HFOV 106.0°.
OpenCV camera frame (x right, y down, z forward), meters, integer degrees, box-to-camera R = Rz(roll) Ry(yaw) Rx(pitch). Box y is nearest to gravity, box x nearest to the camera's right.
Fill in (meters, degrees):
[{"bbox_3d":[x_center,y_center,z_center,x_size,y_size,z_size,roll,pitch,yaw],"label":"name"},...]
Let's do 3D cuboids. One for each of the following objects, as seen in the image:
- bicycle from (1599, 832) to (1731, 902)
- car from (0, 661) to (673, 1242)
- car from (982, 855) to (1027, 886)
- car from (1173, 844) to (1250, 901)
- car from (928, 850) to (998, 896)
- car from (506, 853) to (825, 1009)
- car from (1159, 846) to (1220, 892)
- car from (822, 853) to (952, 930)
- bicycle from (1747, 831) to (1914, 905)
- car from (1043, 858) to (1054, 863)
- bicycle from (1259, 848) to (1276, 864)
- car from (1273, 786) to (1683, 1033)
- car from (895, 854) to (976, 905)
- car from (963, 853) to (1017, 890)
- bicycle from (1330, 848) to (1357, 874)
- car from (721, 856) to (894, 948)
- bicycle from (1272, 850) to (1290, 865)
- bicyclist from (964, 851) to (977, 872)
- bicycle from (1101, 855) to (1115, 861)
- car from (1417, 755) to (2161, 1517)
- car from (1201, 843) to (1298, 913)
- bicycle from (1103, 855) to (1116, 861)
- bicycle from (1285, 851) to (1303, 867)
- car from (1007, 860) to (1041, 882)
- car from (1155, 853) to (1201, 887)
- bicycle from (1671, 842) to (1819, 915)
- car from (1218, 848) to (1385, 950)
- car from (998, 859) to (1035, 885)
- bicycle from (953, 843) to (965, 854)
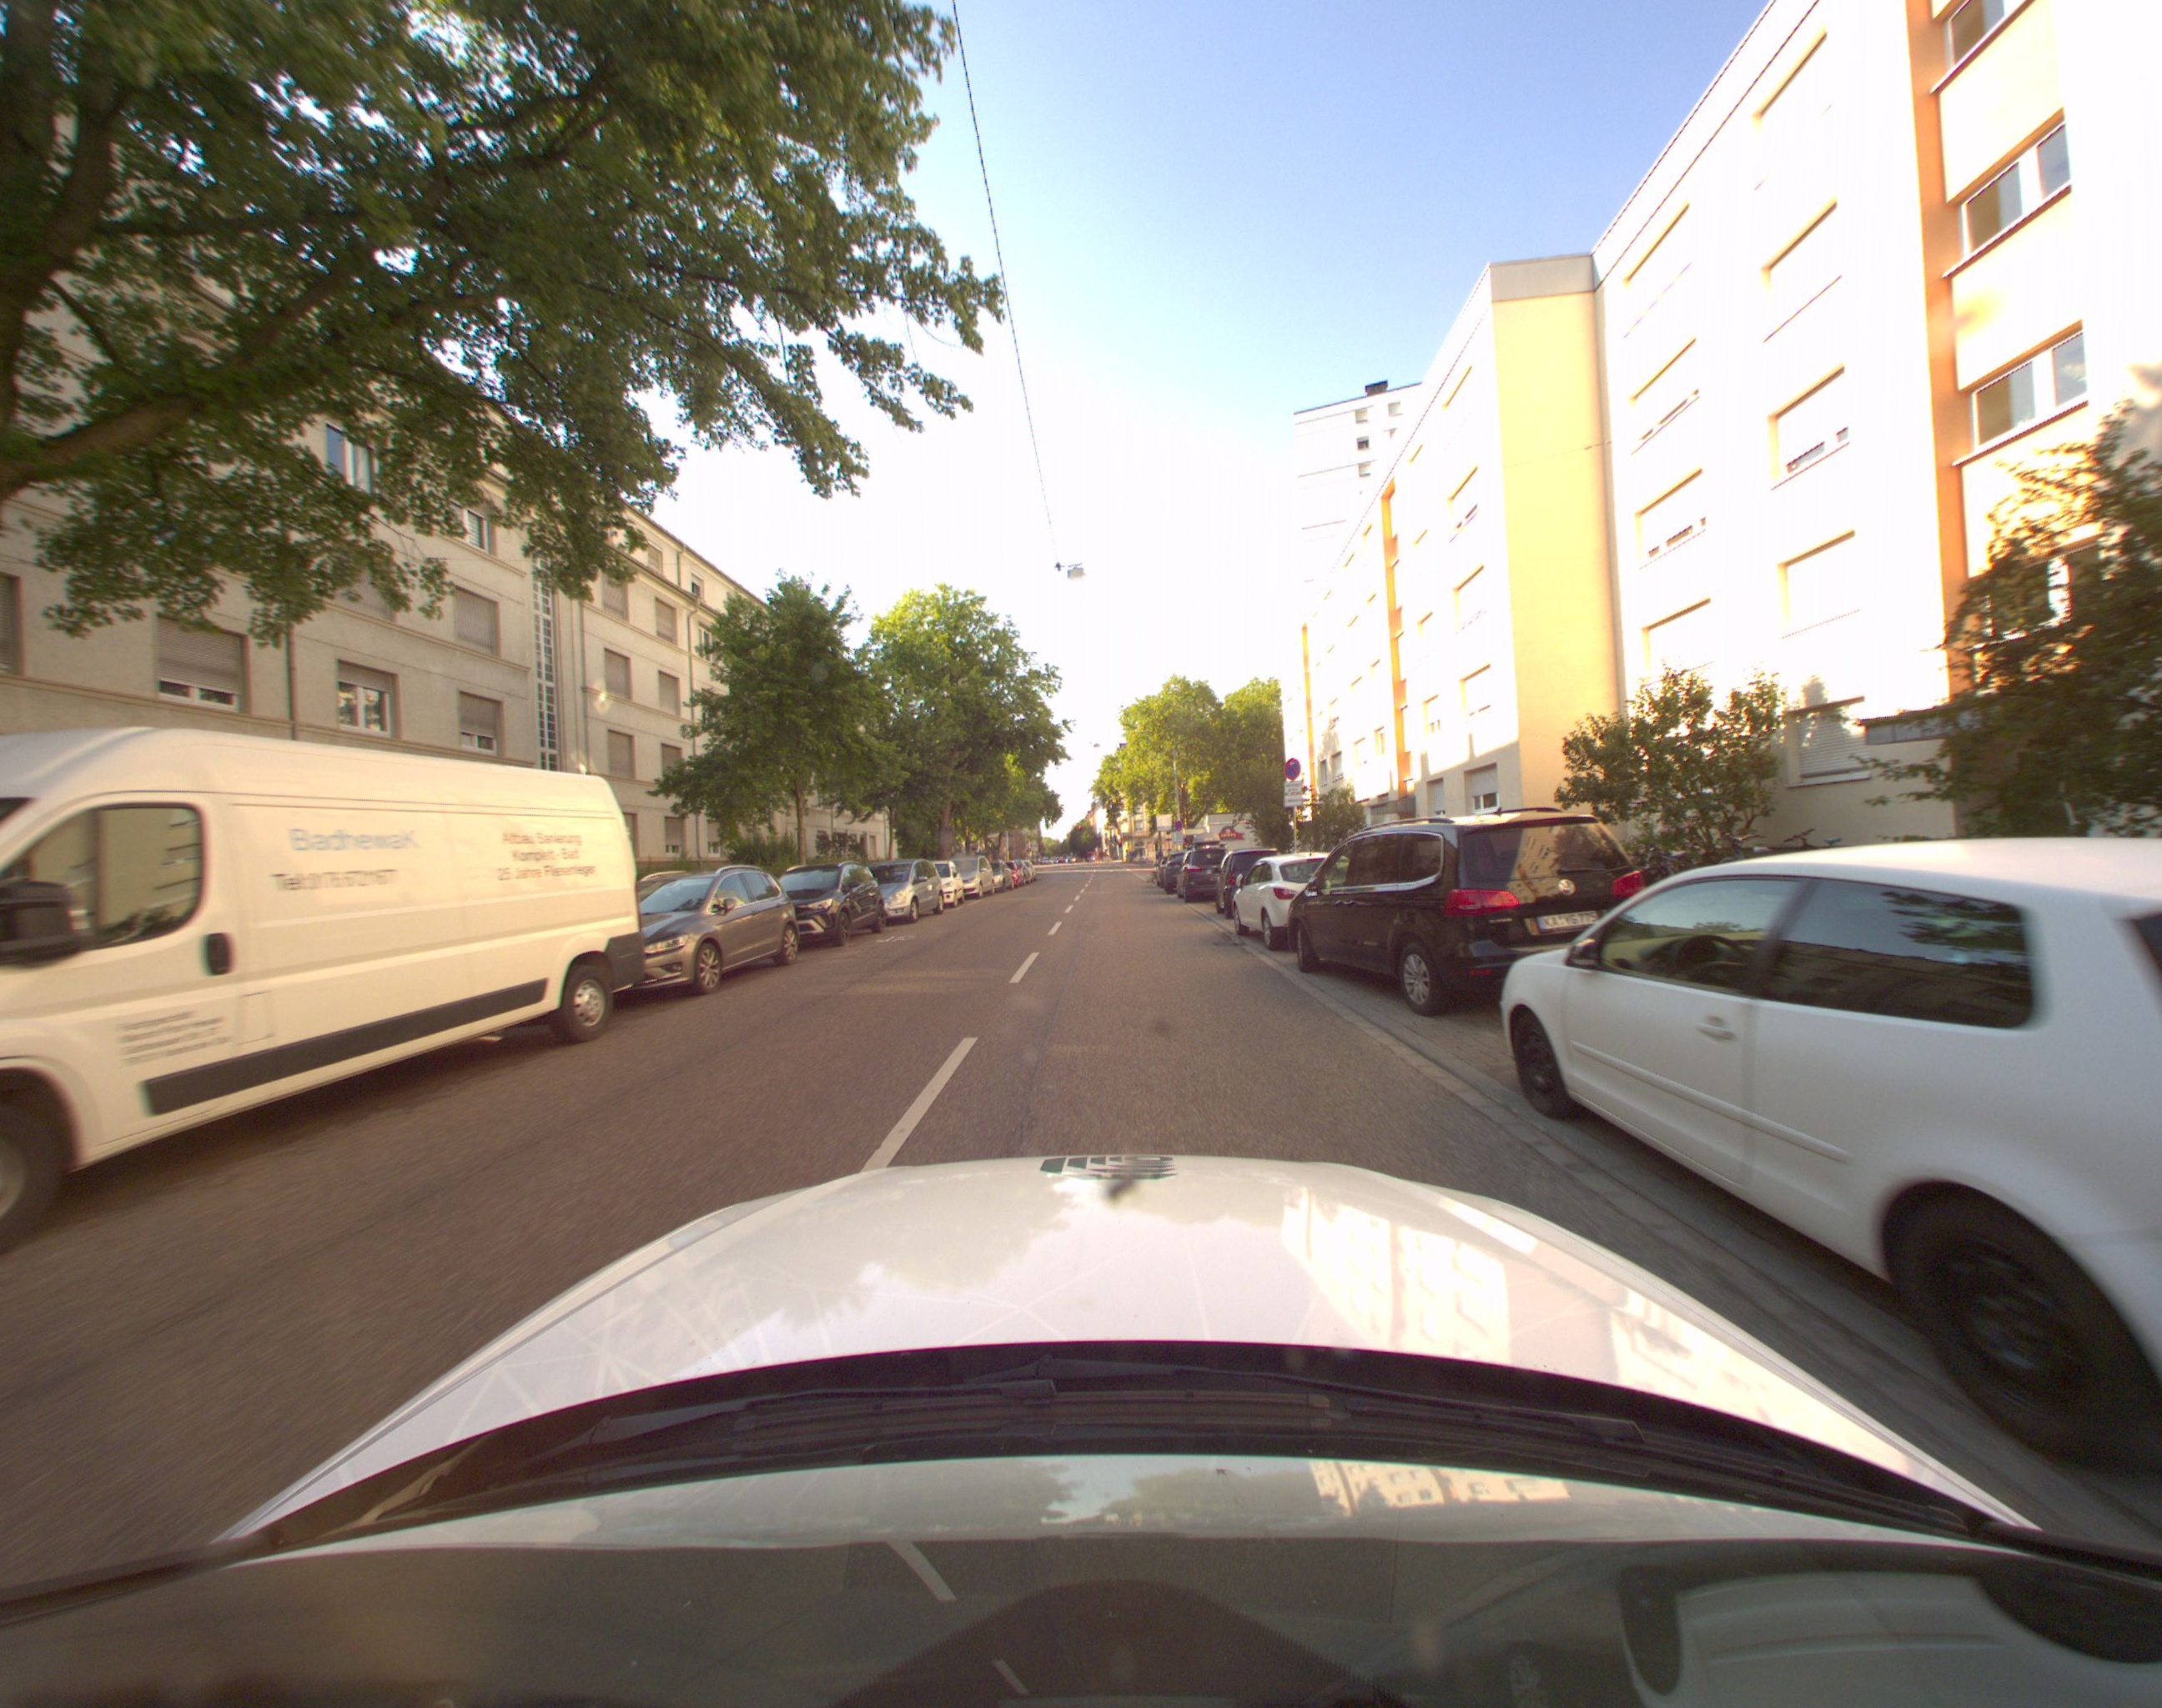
[{"bbox_3d":[10.043,0.184,14.135,0.598,1.081,2.394,-3,1,2],"label":"bicycle"},{"bbox_3d":[-5.652,0.502,5.513,2.349,2.445,6.168,-3,-1,2],"label":"car"},{"bbox_3d":[-3.963,0.858,42.933,1.864,1.558,4.001,-1,-1,2],"label":"car"},{"bbox_3d":[4.140,0.554,26.544,1.890,1.651,4.344,-2,0,2],"label":"car"},{"bbox_3d":[-4.646,0.753,32.721,1.909,1.677,4.976,-1,-1,2],"label":"car"},{"bbox_3d":[-5.355,0.904,11.313,1.950,1.558,4.347,-6,-1,2],"label":"car"},{"bbox_3d":[4.204,0.588,32.272,1.919,1.659,4.679,-1,-1,2],"label":"car"},{"bbox_3d":[-4.884,0.860,21.324,1.864,1.558,5.059,-7,0,2],"label":"car"},{"bbox_3d":[12.307,0.190,13.501,0.598,1.081,2.394,-3,1,2],"label":"bicycle"},{"bbox_3d":[-8.180,1.608,205.343,1.581,1.144,3.398,-1,-1,17],"label":"car"},{"bbox_3d":[11.745,0.100,51.406,0.634,0.925,2.231,-1,1,2],"label":"bicycle"},{"bbox_3d":[3.566,0.451,8.559,2.016,1.750,4.768,-4,-1,2],"label":"car"},{"bbox_3d":[-4.853,0.839,27.696,1.863,1.558,4.102,-1,-1,2],"label":"car"},{"bbox_3d":[-4.157,0.807,37.882,1.863,1.558,4.499,-1,-1,2],"label":"car"},{"bbox_3d":[10.513,0.285,32.707,0.609,1.021,1.835,-1,-1,4],"label":"bicycle"},{"bbox_3d":[-5.276,0.876,16.394,1.863,1.558,4.367,-1,-1,2],"label":"car"},{"bbox_3d":[12.602,0.208,51.398,0.634,0.925,2.231,-1,1,2],"label":"bicycle"},{"bbox_3d":[-10.716,0.734,79.099,0.964,2.014,0.802,-2,-2,36],"label":"bicyclist"},{"bbox_3d":[5.708,0.784,170.371,2.798,1.203,0.509,-1,-1,-5],"label":"bicycle"},{"bbox_3d":[3.111,0.539,3.384,1.829,1.501,4.175,-4,-1,3],"label":"car"},{"bbox_3d":[4.016,0.561,20.009,1.600,1.494,4.043,-2,-1,1],"label":"car"},{"bbox_3d":[6.016,0.753,171.961,2.801,1.203,0.515,-1,-1,-9],"label":"bicycle"},{"bbox_3d":[13.411,0.328,51.341,0.634,0.925,2.231,-1,1,2],"label":"bicycle"},{"bbox_3d":[-3.699,1.086,53.484,1.762,1.352,4.712,-1,-1,2],"label":"car"},{"bbox_3d":[4.404,0.730,37.440,1.734,1.473,4.001,-1,-1,2],"label":"car"},{"bbox_3d":[11.201,0.368,13.873,0.598,1.081,2.394,-3,1,2],"label":"bicycle"},{"bbox_3d":[3.493,0.672,13.795,1.673,1.415,4.725,-1,-1,2],"label":"car"},{"bbox_3d":[-3.740,1.054,48.104,1.697,1.440,4.130,-1,-1,2],"label":"car"},{"bbox_3d":[-14.038,-0.614,93.933,0.715,1.145,3.293,-1,-1,2],"label":"bicycle"}]
